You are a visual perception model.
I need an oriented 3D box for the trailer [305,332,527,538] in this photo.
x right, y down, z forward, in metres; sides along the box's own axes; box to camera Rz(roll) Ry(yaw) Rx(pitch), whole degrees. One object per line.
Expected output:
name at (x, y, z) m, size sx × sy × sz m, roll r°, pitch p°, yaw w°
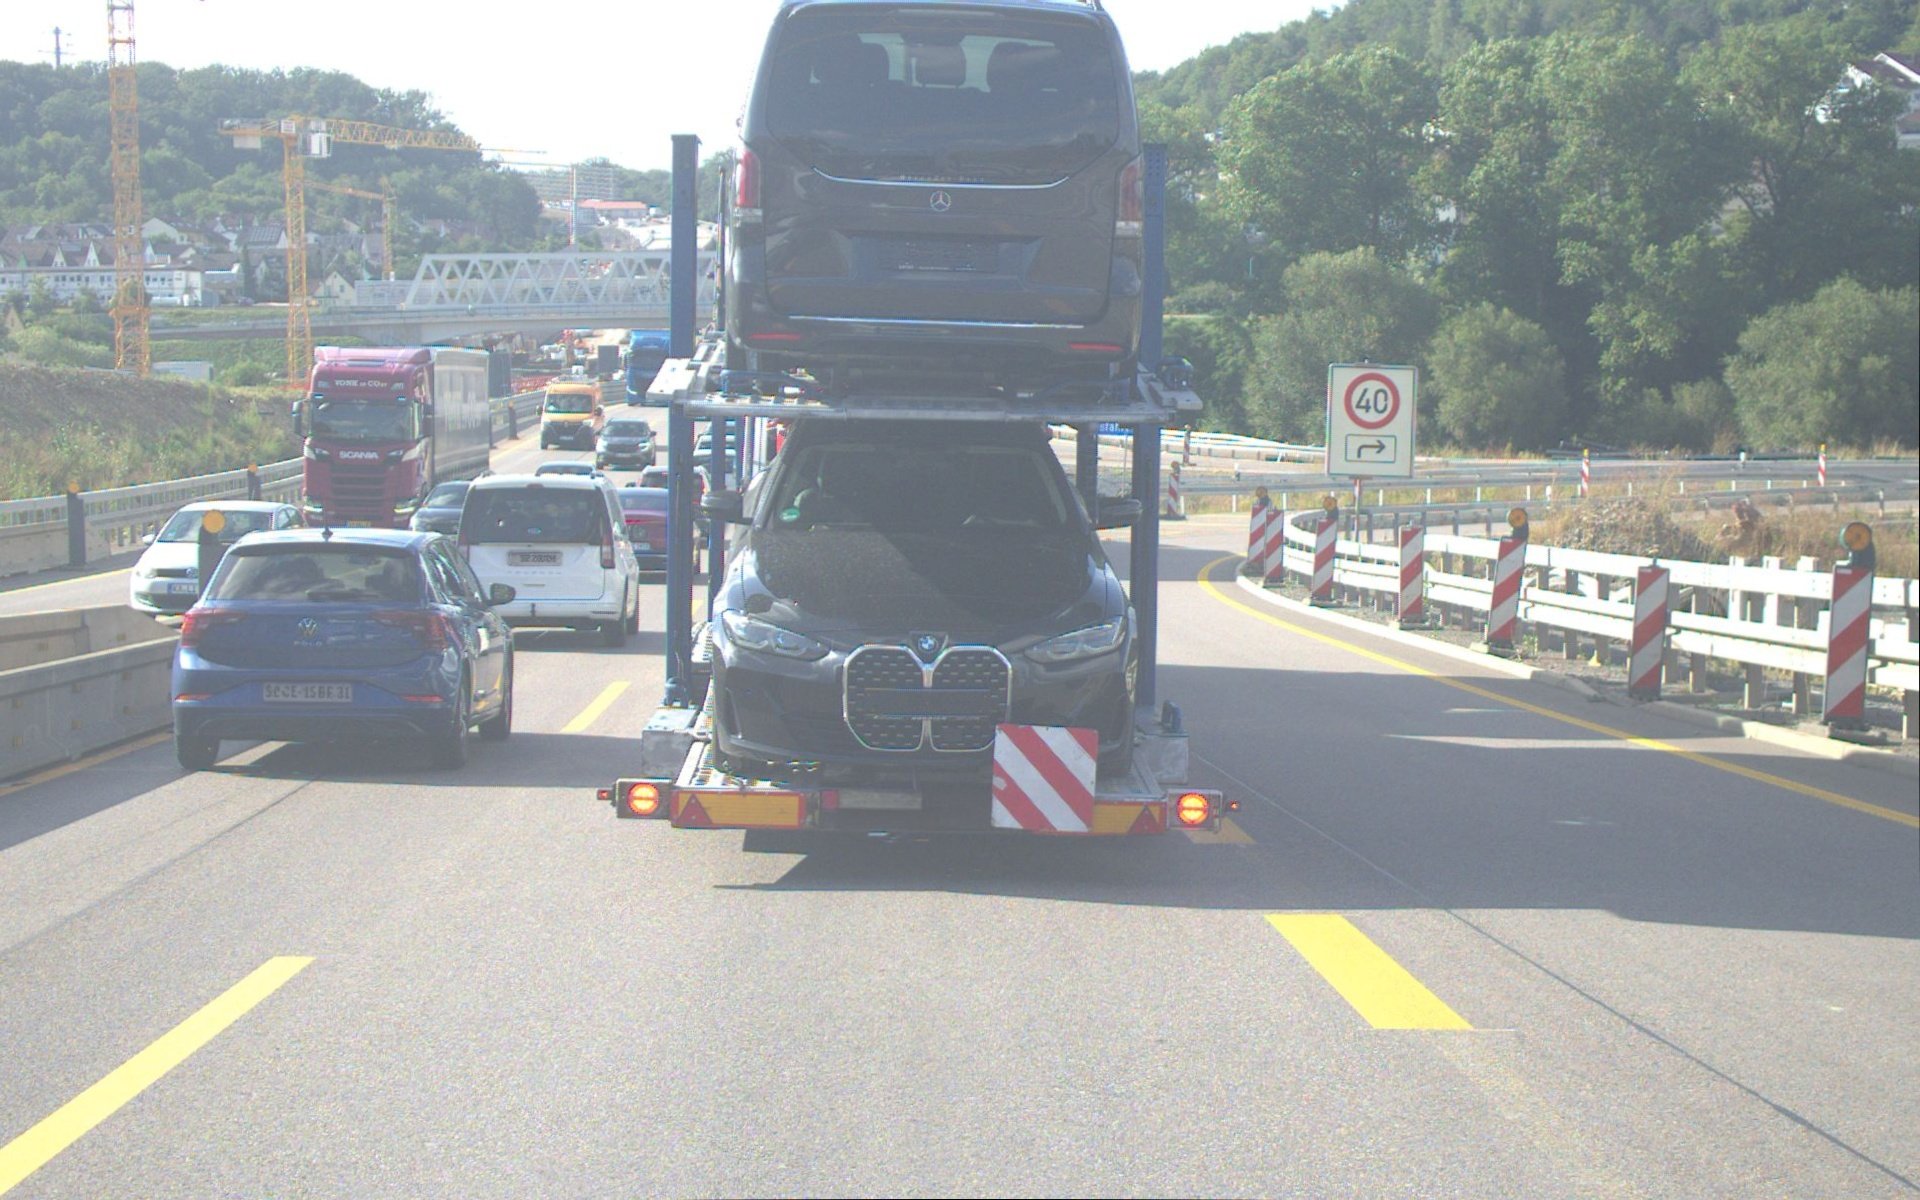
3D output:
trailer at (-12.781, -3.822, 82.137) m, size 2.976 × 4.407 × 13.817 m, roll 2°, pitch 2°, yaw 0°

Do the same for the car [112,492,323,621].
car at (-8.796, -0.540, 41.007) m, size 1.754 × 1.435 × 3.805 m, roll 1°, pitch 1°, yaw -1°

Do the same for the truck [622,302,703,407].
truck at (-16.121, -13.287, 187.303) m, size 2.822 × 4.772 × 13.054 m, roll 1°, pitch 0°, yaw 2°

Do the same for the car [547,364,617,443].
car at (-14.320, -7.434, 130.496) m, size 1.993 × 2.869 × 6.065 m, roll 1°, pitch 2°, yaw -1°

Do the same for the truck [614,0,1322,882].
truck at (-0.292, -1.086, 23.403) m, size 2.753 × 3.941 × 18.892 m, roll 2°, pitch 1°, yaw -2°

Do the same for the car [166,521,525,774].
car at (-3.784, 0.227, 21.747) m, size 1.722 × 1.417 × 4.001 m, roll 0°, pitch 2°, yaw -3°

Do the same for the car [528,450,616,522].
car at (-9.293, -2.723, 82.642) m, size 1.844 × 1.642 × 4.505 m, roll 1°, pitch 1°, yaw -3°

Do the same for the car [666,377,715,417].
car at (-12.448, -9.384, 159.007) m, size 1.993 × 1.678 × 4.001 m, roll 1°, pitch 2°, yaw -1°

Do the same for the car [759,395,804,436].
car at (-7.786, -8.010, 149.650) m, size 1.844 × 1.642 × 4.506 m, roll 1°, pitch 1°, yaw -4°

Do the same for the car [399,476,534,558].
car at (-9.076, -1.534, 63.567) m, size 1.821 × 1.435 × 4.614 m, roll 1°, pitch 1°, yaw 0°

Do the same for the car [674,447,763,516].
car at (-6.162, -3.062, 88.177) m, size 1.993 × 1.660 × 4.001 m, roll 1°, pitch 3°, yaw 0°

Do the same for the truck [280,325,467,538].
truck at (-12.777, -3.624, 75.362) m, size 2.914 × 4.372 × 6.287 m, roll 2°, pitch 1°, yaw 0°

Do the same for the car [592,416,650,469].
car at (-11.321, -5.249, 115.018) m, size 1.844 × 1.642 × 4.237 m, roll 1°, pitch 1°, yaw -5°

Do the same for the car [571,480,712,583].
car at (-5.093, -1.074, 55.461) m, size 1.993 × 1.551 × 4.401 m, roll 1°, pitch 0°, yaw -2°

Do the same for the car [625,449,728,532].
car at (-5.756, -2.203, 70.102) m, size 1.993 × 1.547 × 4.000 m, roll 1°, pitch 0°, yaw -4°

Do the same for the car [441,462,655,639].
car at (-4.408, -0.507, 37.285) m, size 1.823 × 1.786 × 4.000 m, roll 1°, pitch 0°, yaw 0°
